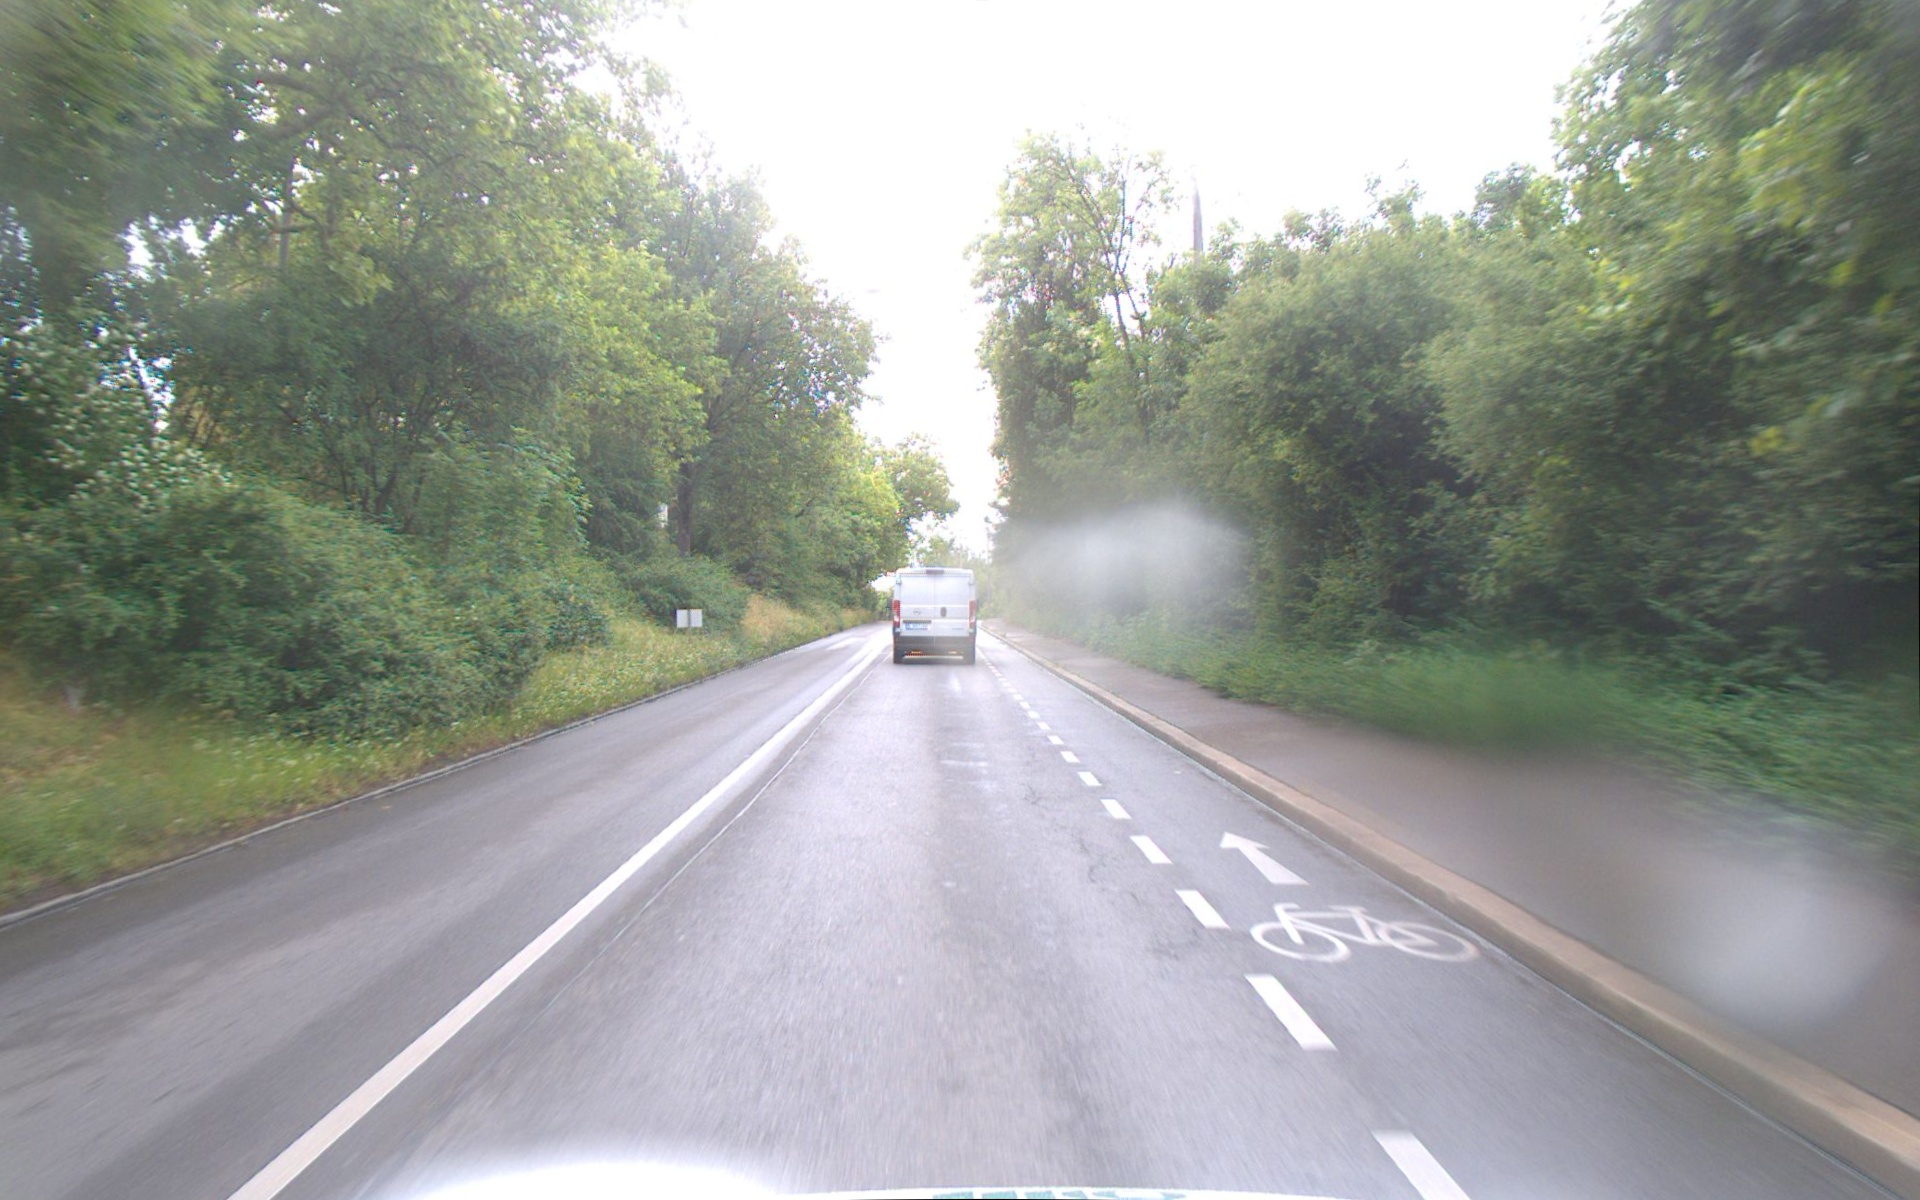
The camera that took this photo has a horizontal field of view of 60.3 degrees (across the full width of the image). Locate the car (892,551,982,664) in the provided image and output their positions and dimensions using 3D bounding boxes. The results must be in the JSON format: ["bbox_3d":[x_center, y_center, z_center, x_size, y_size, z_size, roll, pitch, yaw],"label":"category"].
[{"bbox_3d":[-0.557,0.150,41.299,2.008,2.560,4.943,2,0,0],"label":"car"}]

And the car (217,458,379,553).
[{"bbox_3d":[-12.558,-1.759,31.580,1.716,1.691,3.443,-1,2,-1],"label":"car"}]
